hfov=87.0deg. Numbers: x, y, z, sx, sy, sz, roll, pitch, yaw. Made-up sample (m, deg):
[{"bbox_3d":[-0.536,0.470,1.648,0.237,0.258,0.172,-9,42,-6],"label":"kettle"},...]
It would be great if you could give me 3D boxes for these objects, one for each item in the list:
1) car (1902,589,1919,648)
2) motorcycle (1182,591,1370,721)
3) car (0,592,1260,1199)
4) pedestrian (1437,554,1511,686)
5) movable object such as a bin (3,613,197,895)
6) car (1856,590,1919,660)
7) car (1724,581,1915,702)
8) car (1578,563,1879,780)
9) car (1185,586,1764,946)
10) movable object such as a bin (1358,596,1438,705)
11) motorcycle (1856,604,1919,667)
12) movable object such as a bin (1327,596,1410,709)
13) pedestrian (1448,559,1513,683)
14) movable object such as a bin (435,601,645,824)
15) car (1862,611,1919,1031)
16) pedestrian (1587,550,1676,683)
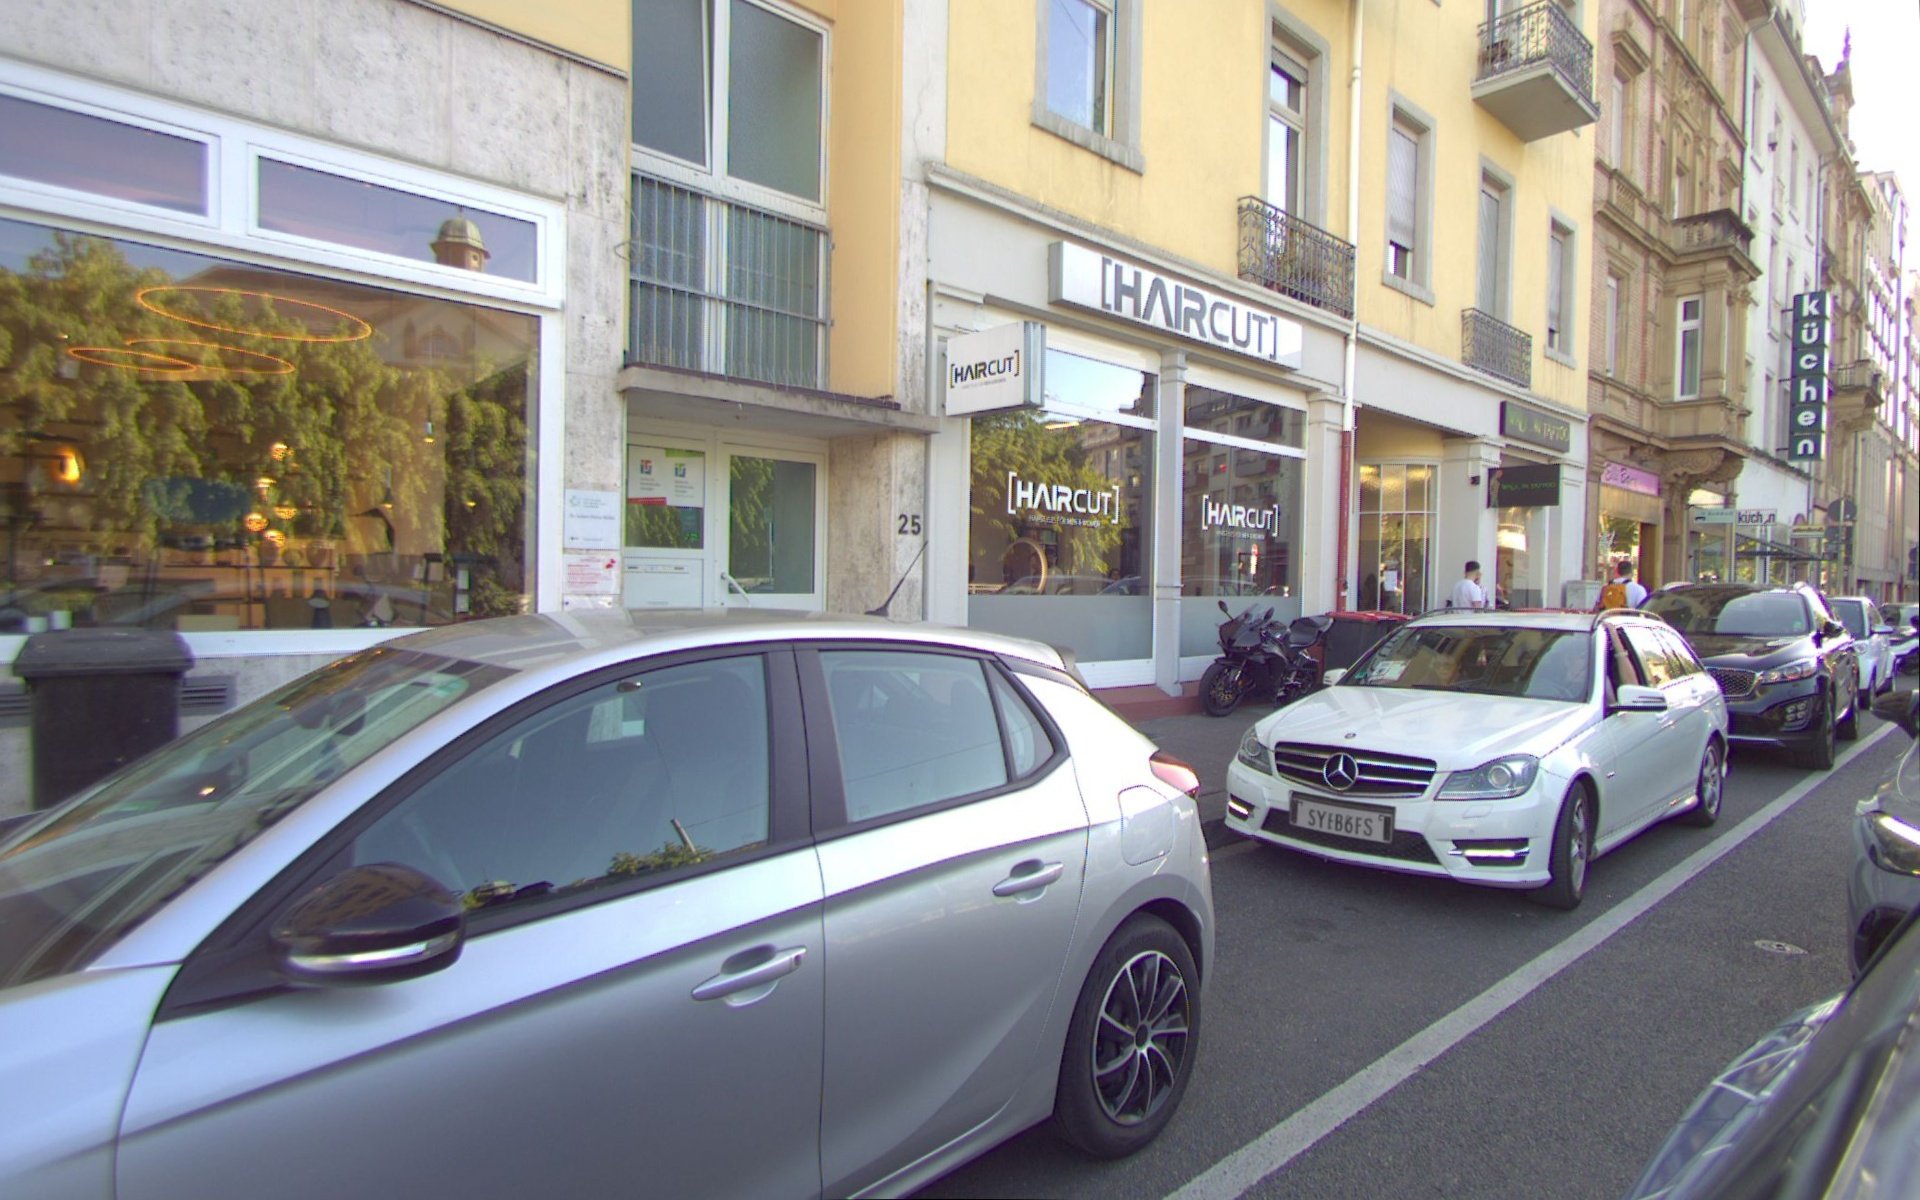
[{"bbox_3d":[26.398,0.483,26.858,3.931,1.504,1.713,0,1,-42],"label":"car"},{"bbox_3d":[3.319,0.524,10.523,2.208,1.179,0.773,0,4,-41],"label":"motorcycle"},{"bbox_3d":[-1.033,0.701,2.315,3.642,1.415,1.652,0,1,-42],"label":"car"},{"bbox_3d":[6.617,0.246,13.025,0.689,1.637,0.641,0,0,-42],"label":"pedestrian"},{"bbox_3d":[-3.680,0.592,4.356,0.591,1.041,0.812,0,1,-40],"label":"movable object such as a bin"},{"bbox_3d":[22.027,0.539,23.266,3.931,1.504,1.713,0,1,-42],"label":"car"},{"bbox_3d":[12.683,0.530,14.902,2.965,1.587,1.695,0,1,-40],"label":"car"},{"bbox_3d":[7.968,0.536,10.304,1.853,1.719,4.623,1,1,45],"label":"car"},{"bbox_3d":[3.482,0.670,6.373,4.519,1.480,1.757,0,1,-42],"label":"car"},{"bbox_3d":[5.145,0.566,11.885,0.633,1.222,0.647,0,0,-40],"label":"movable object such as a bin"},{"bbox_3d":[19.285,0.710,20.515,1.514,1.248,0.771,1,0,1],"label":"motorcycle"},{"bbox_3d":[4.635,0.573,11.496,0.633,1.222,0.647,0,0,-40],"label":"movable object such as a bin"},{"bbox_3d":[7.106,0.275,13.812,0.631,1.637,0.572,0,0,-40],"label":"pedestrian"},{"bbox_3d":[-2.300,0.553,5.535,0.878,1.066,0.752,0,1,-40],"label":"movable object such as a bin"},{"bbox_3d":[5.308,0.758,4.255,4.183,1.396,1.846,0,1,-42],"label":"car"},{"bbox_3d":[8.665,0.197,13.064,0.750,1.637,0.794,0,1,-43],"label":"pedestrian"}]
